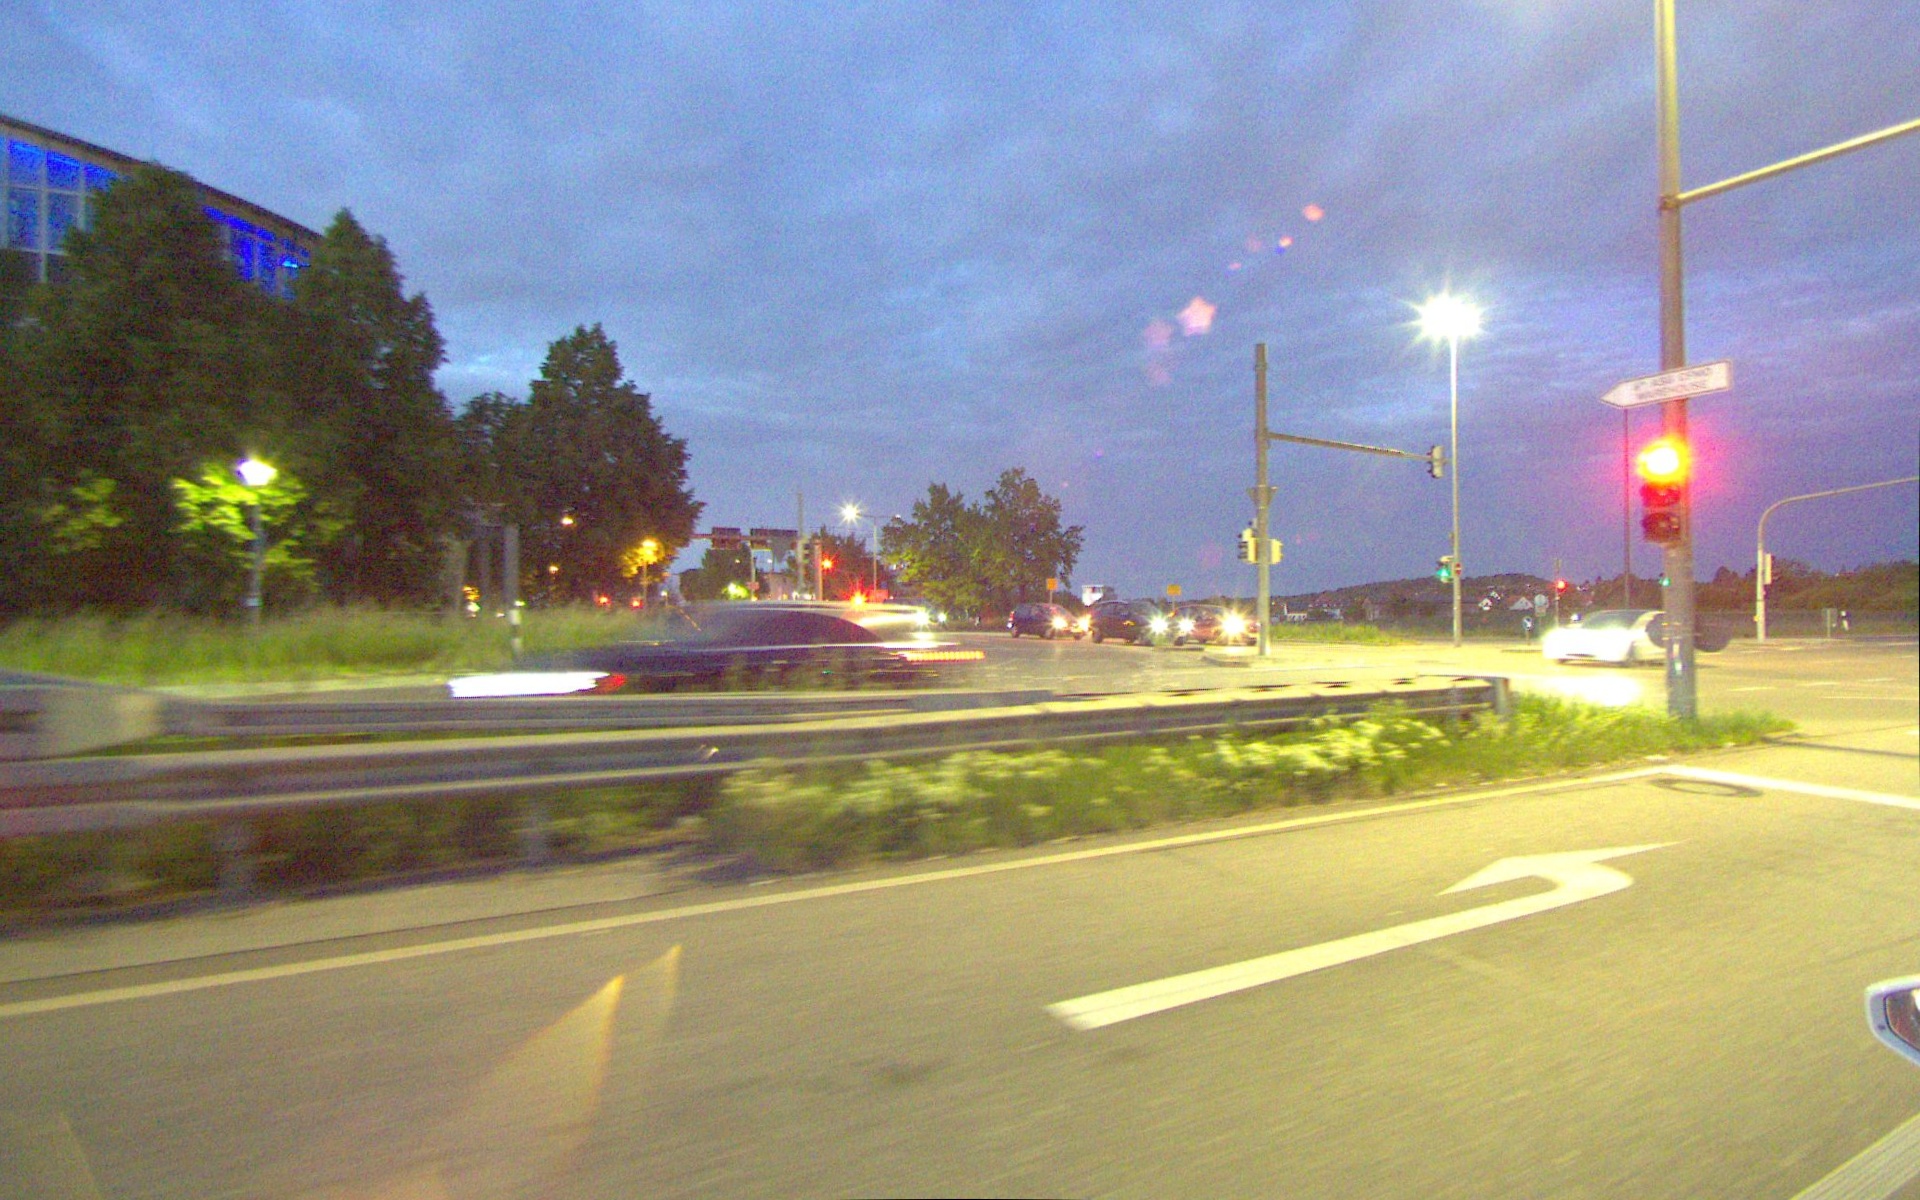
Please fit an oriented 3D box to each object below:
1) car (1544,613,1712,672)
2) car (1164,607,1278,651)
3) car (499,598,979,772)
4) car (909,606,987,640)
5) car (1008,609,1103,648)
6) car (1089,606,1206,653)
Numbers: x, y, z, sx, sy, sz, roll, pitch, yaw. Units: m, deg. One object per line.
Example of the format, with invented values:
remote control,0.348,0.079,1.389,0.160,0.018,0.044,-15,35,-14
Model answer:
car,17.751,1.077,26.654,4.479,1.444,1.984,1,-1,-31
car,9.607,1.062,37.243,1.711,1.558,4.018,1,-1,-32
car,-2.280,0.794,10.739,4.629,1.501,1.983,2,-1,-31
car,-0.723,1.246,54.491,2.186,1.716,4.566,1,-1,-32
car,3.853,1.159,41.149,1.712,1.493,3.960,1,-2,-35
car,6.575,1.038,35.634,1.710,1.558,4.292,1,-1,-31
